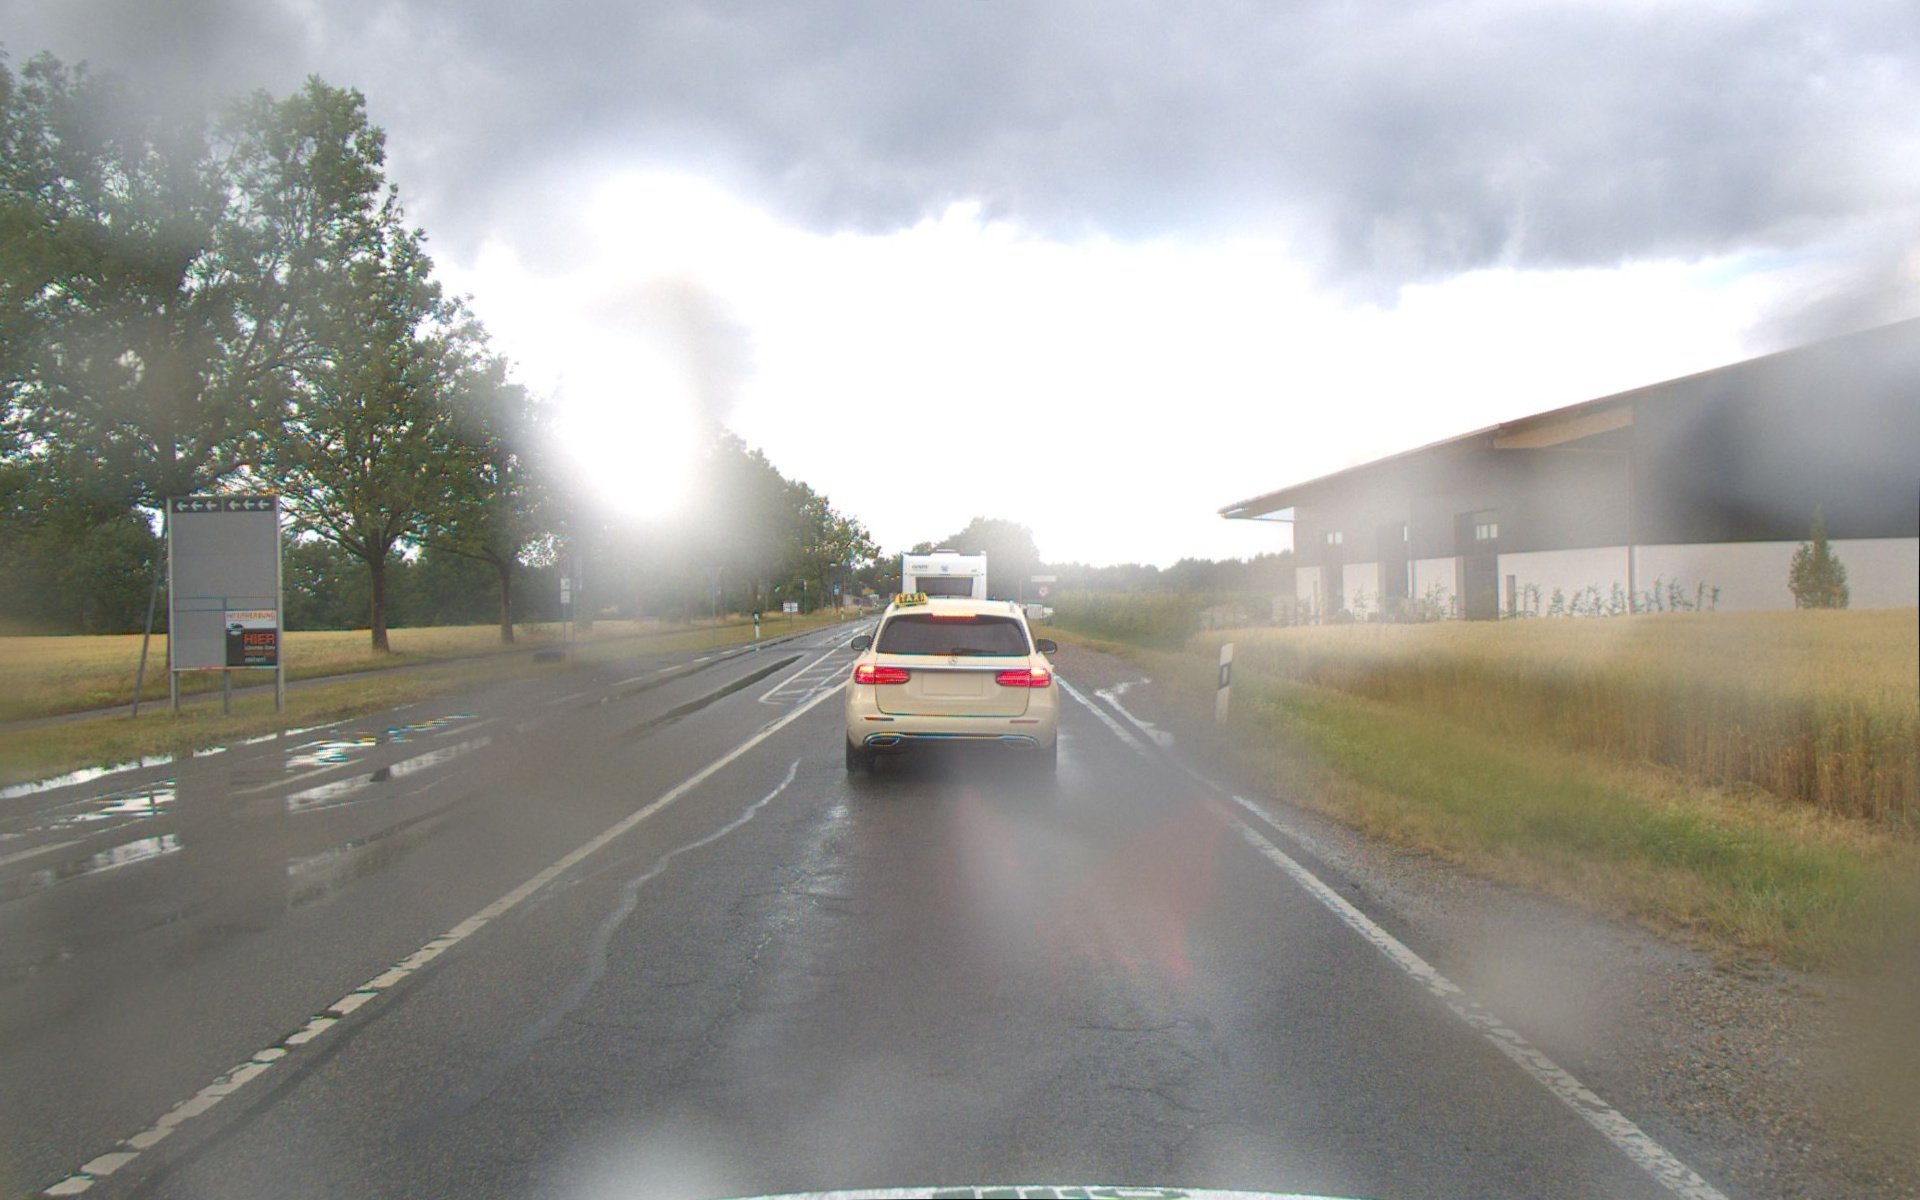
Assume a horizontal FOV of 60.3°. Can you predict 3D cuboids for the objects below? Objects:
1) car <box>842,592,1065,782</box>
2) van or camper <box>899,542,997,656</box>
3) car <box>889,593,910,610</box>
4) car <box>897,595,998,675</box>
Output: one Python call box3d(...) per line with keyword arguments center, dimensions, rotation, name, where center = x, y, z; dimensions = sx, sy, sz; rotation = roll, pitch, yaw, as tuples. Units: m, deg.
box3d(center=(-0.057, 0.677, 15.065), dimensions=(1.760, 1.490, 4.030), rotation=(0, 0, 0), name="car")
box3d(center=(-0.296, -0.022, 46.103), dimensions=(2.446, 2.880, 5.934), rotation=(-2, 0, 0), name="van or camper")
box3d(center=(-5.975, 0.146, 164.567), dimensions=(1.877, 1.660, 4.356), rotation=(-2, 0, -1), name="car")
box3d(center=(-0.269, 0.645, 32.598), dimensions=(1.856, 1.454, 3.927), rotation=(0, 0, -1), name="car")
